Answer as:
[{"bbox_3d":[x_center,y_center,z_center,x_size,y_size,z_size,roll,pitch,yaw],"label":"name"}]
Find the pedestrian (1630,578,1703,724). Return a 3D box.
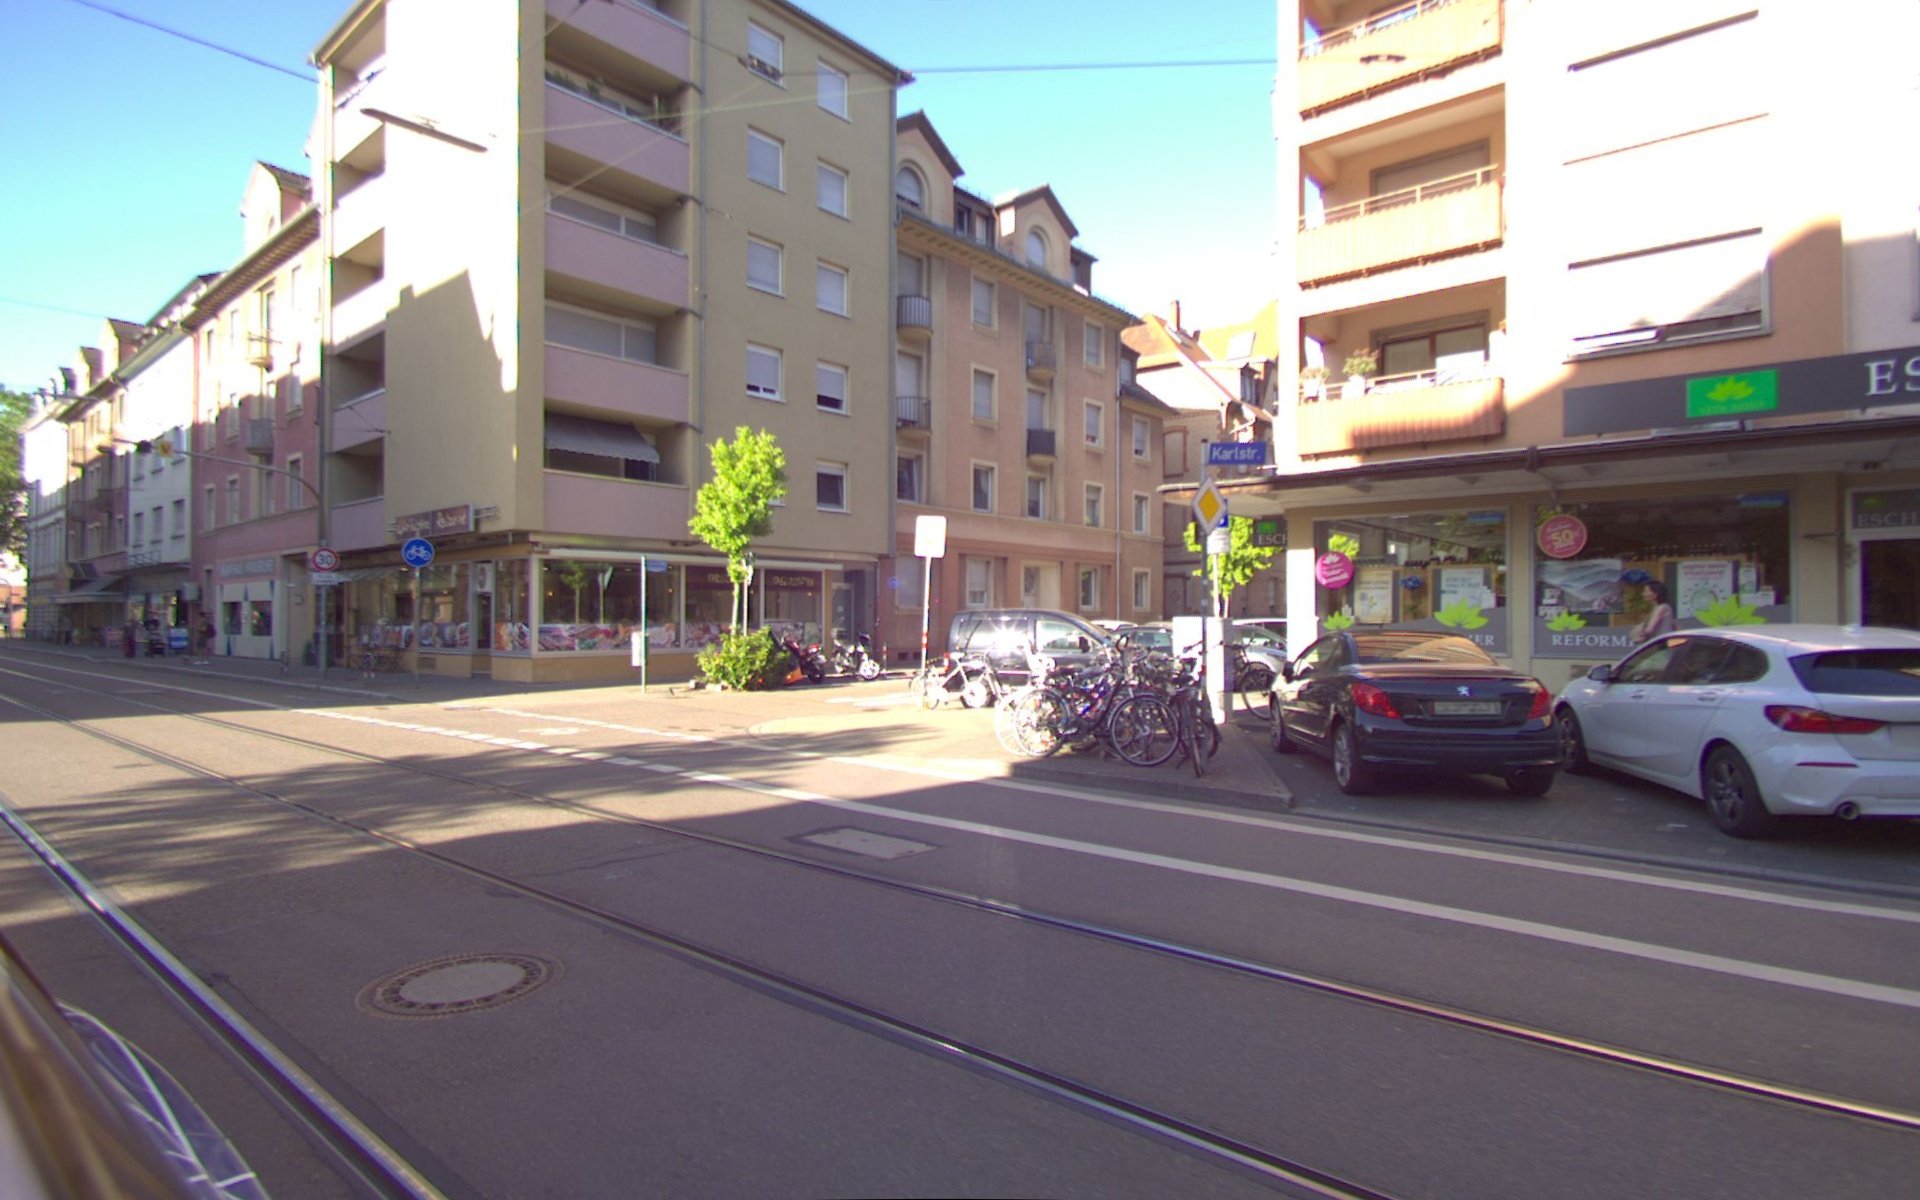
[{"bbox_3d":[8.357,0.589,11.973,0.641,1.665,0.563,-1,-1,41],"label":"pedestrian"}]

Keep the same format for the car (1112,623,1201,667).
[{"bbox_3d":[7.561,1.684,38.768,1.793,1.522,3.820,-1,0,38],"label":"car"}]

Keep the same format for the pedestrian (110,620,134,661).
[{"bbox_3d":[-32.601,1.561,39.390,0.623,1.560,0.629,-1,-1,40],"label":"pedestrian"}]

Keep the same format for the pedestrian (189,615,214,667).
[{"bbox_3d":[-25.164,1.359,33.574,0.616,1.698,0.557,-1,-1,39],"label":"pedestrian"}]

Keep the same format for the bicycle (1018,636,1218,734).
[{"bbox_3d":[2.014,1.066,12.996,2.396,1.118,0.685,-2,-2,-9],"label":"bicycle"}]

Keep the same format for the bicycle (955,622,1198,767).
[{"bbox_3d":[1.135,0.939,10.368,2.431,1.330,0.675,-4,-2,37],"label":"bicycle"}]

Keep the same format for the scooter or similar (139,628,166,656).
[{"bbox_3d":[-31.622,1.633,39.635,1.104,1.069,0.655,-2,-1,41],"label":"scooter or similar"}]

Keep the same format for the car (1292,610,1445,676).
[{"bbox_3d":[12.524,1.313,31.228,3.951,1.727,1.688,-4,-1,6],"label":"car"}]

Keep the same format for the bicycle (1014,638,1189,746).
[{"bbox_3d":[1.595,1.035,11.492,1.867,1.132,0.681,-3,-2,10],"label":"bicycle"}]

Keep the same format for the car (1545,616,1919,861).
[{"bbox_3d":[6.331,0.857,7.880,1.734,1.410,3.783,0,0,8],"label":"car"}]

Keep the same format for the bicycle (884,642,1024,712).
[{"bbox_3d":[-0.139,1.318,17.409,2.429,1.118,0.676,-4,-2,35],"label":"bicycle"}]

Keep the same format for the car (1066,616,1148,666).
[{"bbox_3d":[5.022,1.340,34.212,1.785,1.522,3.839,-1,0,24],"label":"car"}]

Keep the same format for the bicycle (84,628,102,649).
[{"bbox_3d":[-46.195,2.042,53.918,2.328,1.068,0.420,-1,0,41],"label":"bicycle"}]

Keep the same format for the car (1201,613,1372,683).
[{"bbox_3d":[8.596,1.264,26.912,3.951,1.568,1.688,-4,-1,6],"label":"car"}]

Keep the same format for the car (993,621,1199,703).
[{"bbox_3d":[2.805,1.265,20.935,3.957,1.403,1.843,-4,-1,11],"label":"car"}]

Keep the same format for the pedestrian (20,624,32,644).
[{"bbox_3d":[-86.684,3.172,93.960,0.809,1.861,0.784,-1,-1,44],"label":"pedestrian"}]

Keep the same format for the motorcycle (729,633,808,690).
[{"bbox_3d":[-4.480,1.399,23.568,2.175,1.219,0.613,-1,0,41],"label":"motorcycle"}]

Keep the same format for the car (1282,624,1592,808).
[{"bbox_3d":[4.263,0.942,9.638,1.605,1.347,3.464,0,0,6],"label":"car"}]

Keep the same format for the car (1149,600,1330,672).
[{"bbox_3d":[6.753,0.866,24.805,3.951,1.469,1.688,-4,-1,6],"label":"car"}]

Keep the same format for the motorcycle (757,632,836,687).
[{"bbox_3d":[-3.905,1.397,24.107,2.175,1.219,0.613,-1,0,41],"label":"motorcycle"}]

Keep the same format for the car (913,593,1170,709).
[{"bbox_3d":[1.495,0.983,18.514,4.324,1.831,1.837,-4,-5,20],"label":"car"}]

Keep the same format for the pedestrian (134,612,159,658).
[{"bbox_3d":[-32.532,1.383,40.473,0.820,1.803,0.619,-1,-1,40],"label":"pedestrian"}]
